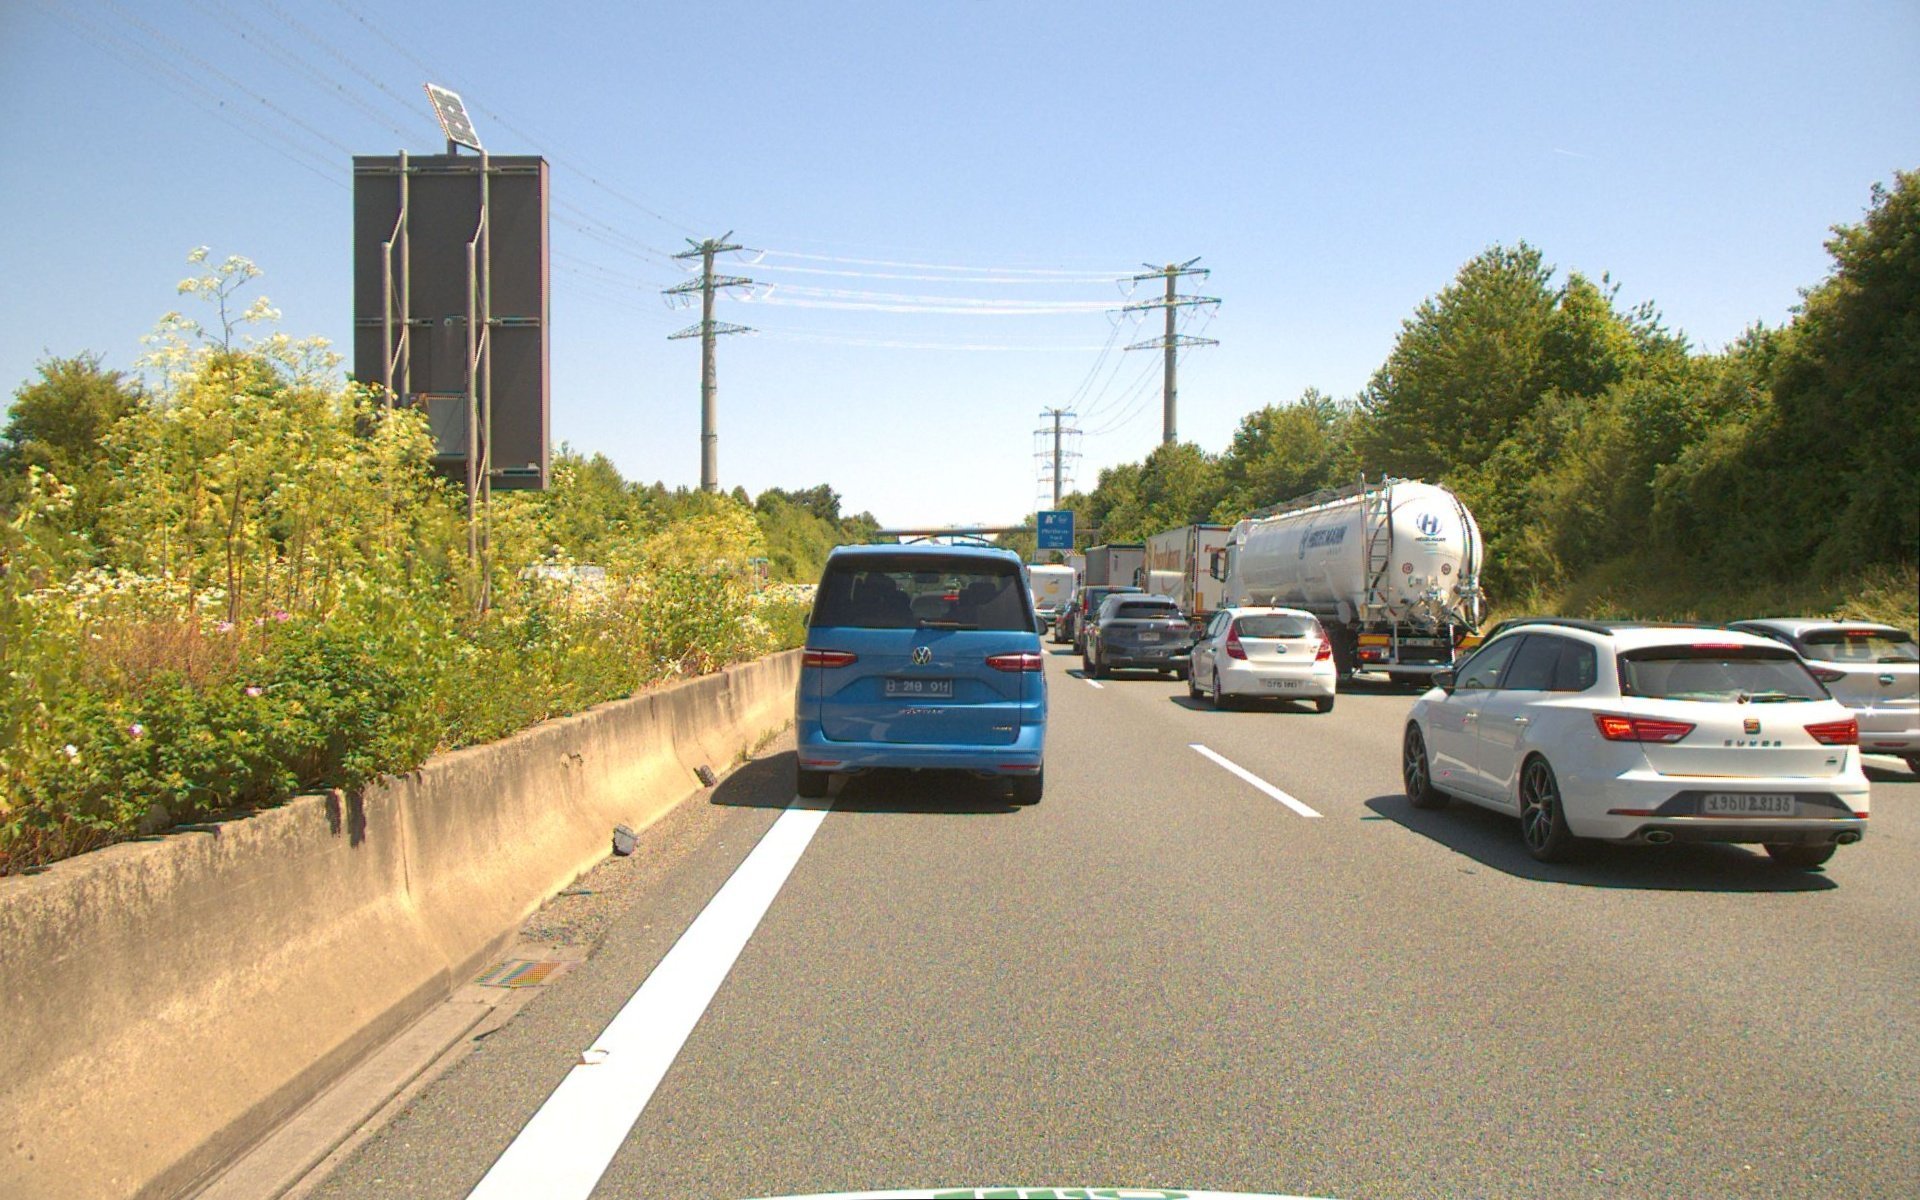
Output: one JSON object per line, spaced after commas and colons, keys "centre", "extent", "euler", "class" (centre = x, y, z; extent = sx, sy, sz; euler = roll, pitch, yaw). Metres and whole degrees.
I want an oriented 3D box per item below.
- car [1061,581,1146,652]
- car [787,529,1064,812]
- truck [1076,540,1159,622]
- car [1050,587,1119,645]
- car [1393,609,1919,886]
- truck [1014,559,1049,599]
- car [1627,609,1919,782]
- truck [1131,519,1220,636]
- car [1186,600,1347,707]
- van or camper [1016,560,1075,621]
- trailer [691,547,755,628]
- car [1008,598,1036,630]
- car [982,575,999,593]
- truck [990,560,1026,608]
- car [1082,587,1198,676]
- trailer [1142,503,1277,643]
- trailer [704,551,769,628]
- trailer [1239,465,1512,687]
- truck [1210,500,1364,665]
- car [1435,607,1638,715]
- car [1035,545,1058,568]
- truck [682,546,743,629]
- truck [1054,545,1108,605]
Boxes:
{"centre": [4.158, 0.499, 48.495], "extent": [1.885, 1.959, 4.233], "euler": [-1, -1, -3], "class": "car"}
{"centre": [-0.245, 0.486, 13.471], "extent": [1.881, 1.919, 4.000], "euler": [1, 0, 0], "class": "car"}
{"centre": [8.001, -0.827, 85.884], "extent": [2.944, 3.832, 15.712], "euler": [0, 0, 0], "class": "truck"}
{"centre": [4.326, 0.573, 58.160], "extent": [1.885, 1.959, 4.233], "euler": [-1, -1, -3], "class": "car"}
{"centre": [4.283, 0.816, 10.979], "extent": [1.712, 1.468, 4.313], "euler": [0, -1, 0], "class": "car"}
{"centre": [8.498, -2.481, 197.648], "extent": [3.494, 4.596, 10.291], "euler": [0, 0, -1], "class": "truck"}
{"centre": [8.413, 0.858, 16.697], "extent": [1.695, 1.468, 4.028], "euler": [0, 0, -1], "class": "car"}
{"centre": [8.670, -0.861, 66.969], "extent": [2.853, 4.547, 5.141], "euler": [0, 0, -1], "class": "truck"}
{"centre": [4.597, 0.785, 25.367], "extent": [1.779, 1.511, 4.000], "euler": [0, -1, 1], "class": "car"}
{"centre": [4.430, -0.437, 86.915], "extent": [2.896, 3.075, 7.103], "euler": [0, 0, 1], "class": "van or camper"}
{"centre": [-15.486, -0.757, 108.505], "extent": [3.254, 5.136, 6.703], "euler": [0, -1, 0], "class": "trailer"}
{"centre": [4.081, 0.961, 109.287], "extent": [1.798, 2.033, 4.000], "euler": [-1, -1, 1], "class": "car"}
{"centre": [3.780, -1.984, 202.682], "extent": [1.953, 2.163, 3.999], "euler": [0, -1, -1], "class": "car"}
{"centre": [3.966, -1.233, 138.228], "extent": [2.836, 3.832, 10.140], "euler": [0, 0, 0], "class": "truck"}
{"centre": [3.692, 0.653, 34.682], "extent": [1.958, 1.745, 4.625], "euler": [0, -1, 0], "class": "car"}
{"centre": [8.763, -0.859, 59.687], "extent": [2.853, 4.547, 12.151], "euler": [0, 0, -1], "class": "trailer"}
{"centre": [-15.515, -0.686, 115.538], "extent": [3.254, 5.136, 9.590], "euler": [0, -1, 0], "class": "trailer"}
{"centre": [8.274, -0.411, 34.829], "extent": [2.705, 3.912, 11.484], "euler": [0, 0, -1], "class": "trailer"}
{"centre": [8.209, -0.414, 42.193], "extent": [2.736, 3.904, 5.571], "euler": [0, 0, -1], "class": "truck"}
{"centre": [8.418, 0.863, 24.514], "extent": [1.607, 1.441, 3.988], "euler": [-1, -1, 0], "class": "car"}
{"centre": [8.099, -4.067, 154.551], "extent": [1.953, 2.049, 4.000], "euler": [0, -1, 0], "class": "car"}
{"centre": [-15.470, -0.766, 103.802], "extent": [3.235, 5.139, 4.032], "euler": [0, 0, -1], "class": "truck"}
{"centre": [8.160, -1.589, 112.847], "extent": [2.836, 3.832, 13.344], "euler": [0, 0, 0], "class": "truck"}
